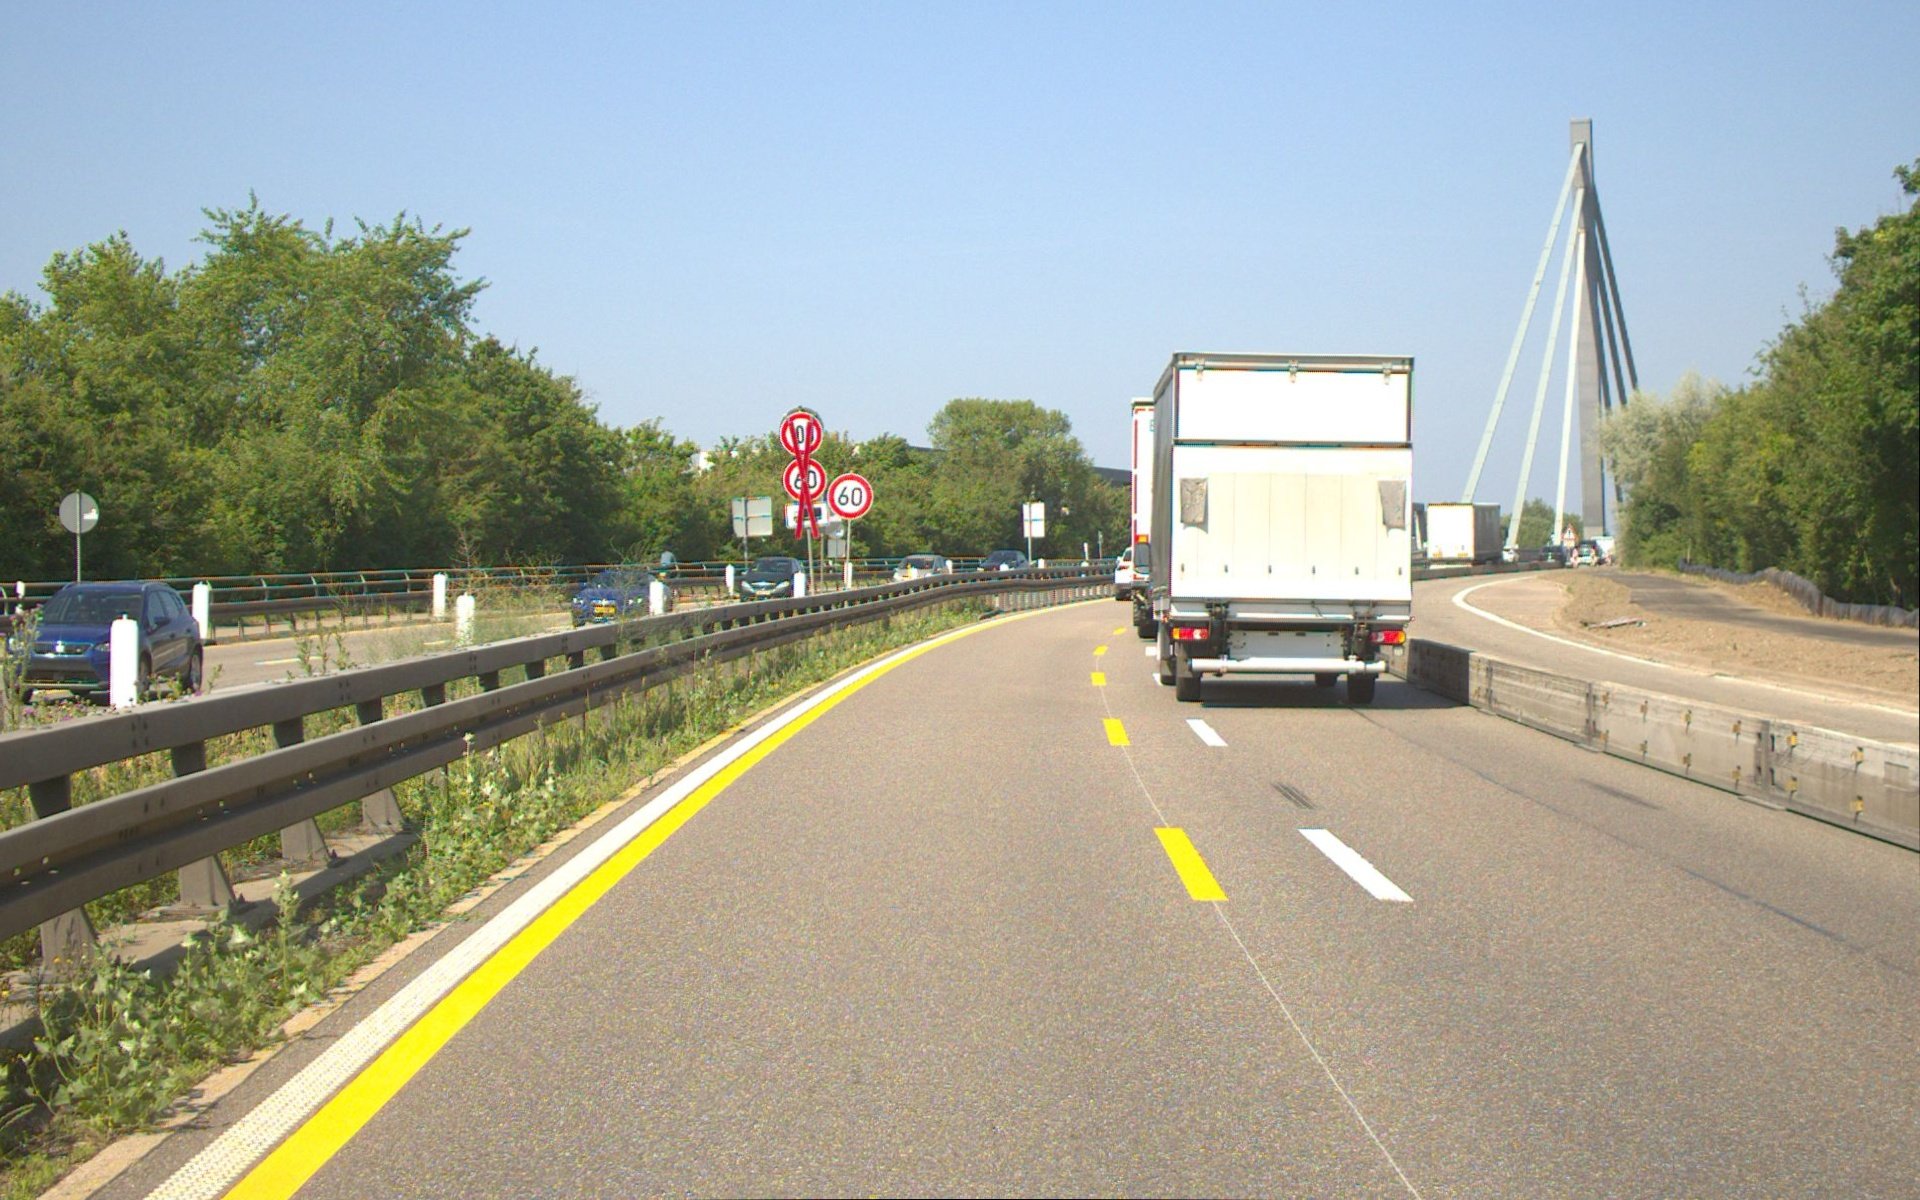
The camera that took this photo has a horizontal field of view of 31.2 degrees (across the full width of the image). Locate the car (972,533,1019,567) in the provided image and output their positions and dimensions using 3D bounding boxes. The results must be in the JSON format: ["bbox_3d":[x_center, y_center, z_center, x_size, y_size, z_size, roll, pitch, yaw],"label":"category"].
[{"bbox_3d":[1.690,-2.391,162.696,1.994,1.546,4.000,-1,1,4],"label":"car"}]

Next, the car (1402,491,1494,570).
[{"bbox_3d":[28.022,-4.053,197.120,4.210,4.237,10.656,-2,2,13],"label":"car"}]

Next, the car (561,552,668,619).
[{"bbox_3d":[-8.424,-0.365,84.028,1.994,1.546,4.000,-1,1,3],"label":"car"}]

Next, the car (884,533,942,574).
[{"bbox_3d":[-1.875,-1.880,138.010,1.994,1.546,4.000,-1,1,4],"label":"car"}]

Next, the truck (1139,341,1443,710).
[{"bbox_3d":[3.291,-0.772,35.905,2.634,3.416,7.233,1,1,2],"label":"truck"}]

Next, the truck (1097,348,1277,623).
[{"bbox_3d":[3.850,-1.941,59.691,2.634,4.453,7.233,1,1,1],"label":"truck"}]

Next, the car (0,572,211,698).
[{"bbox_3d":[-11.108,0.421,44.791,1.738,1.493,4.000,-1,1,1],"label":"car"}]

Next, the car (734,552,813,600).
[{"bbox_3d":[-6.301,-0.818,116.538,1.994,1.546,3.999,-1,1,6],"label":"car"}]
